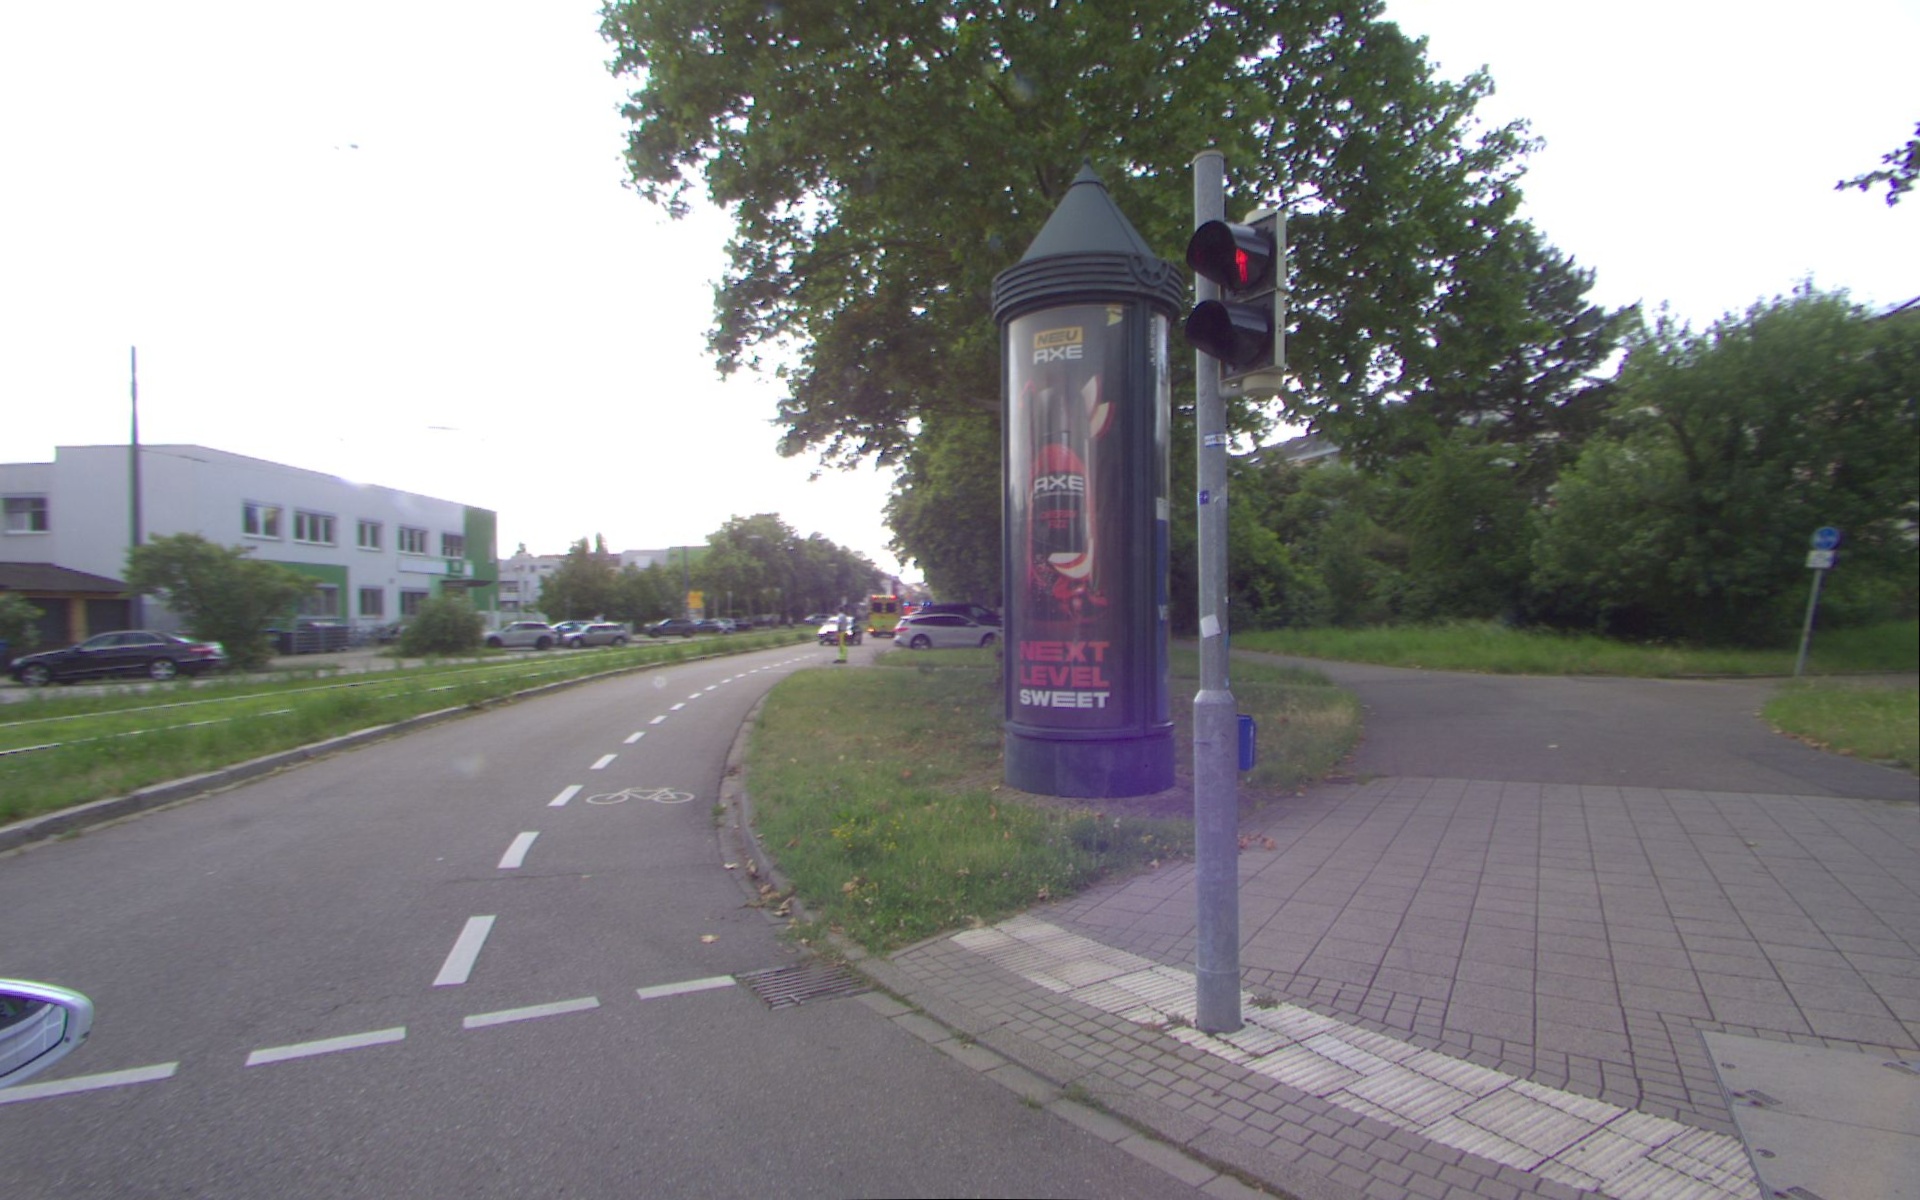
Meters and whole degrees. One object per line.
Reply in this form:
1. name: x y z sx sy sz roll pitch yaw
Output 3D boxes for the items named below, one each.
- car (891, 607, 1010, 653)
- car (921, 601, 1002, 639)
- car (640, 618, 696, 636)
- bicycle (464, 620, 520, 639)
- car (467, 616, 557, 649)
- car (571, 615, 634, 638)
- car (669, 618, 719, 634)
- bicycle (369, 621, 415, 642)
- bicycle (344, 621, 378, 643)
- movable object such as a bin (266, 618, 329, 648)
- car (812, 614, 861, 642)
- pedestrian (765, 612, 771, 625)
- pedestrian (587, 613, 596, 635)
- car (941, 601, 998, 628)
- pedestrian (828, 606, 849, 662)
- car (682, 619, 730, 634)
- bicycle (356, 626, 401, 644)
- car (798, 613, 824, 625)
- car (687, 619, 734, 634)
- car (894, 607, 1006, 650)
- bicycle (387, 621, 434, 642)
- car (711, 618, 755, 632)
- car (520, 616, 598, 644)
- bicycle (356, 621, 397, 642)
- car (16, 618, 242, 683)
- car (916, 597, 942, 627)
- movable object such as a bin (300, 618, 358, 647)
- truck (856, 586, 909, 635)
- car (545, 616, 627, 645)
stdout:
1. car: -0.385 1.167 38.490 4.455 1.665 2.001 -1 -2 -2
2. car: 0.092 1.143 56.023 4.468 2.040 2.001 -1 -1 1
3. car: -23.774 2.166 81.518 4.245 1.381 1.896 0 0 -24
4. bicycle: -30.541 1.893 65.357 3.083 1.181 1.142 -1 0 -4
5. car: -24.502 1.753 54.835 4.257 1.650 1.891 0 0 -33
6. car: -25.046 1.834 70.087 4.101 1.523 1.855 0 -1 -22
7. car: -24.373 2.406 91.808 4.243 1.381 1.896 0 0 -22
8. bicycle: -32.493 1.807 57.286 2.306 1.181 0.760 -1 0 6
9. bicycle: -32.808 1.770 54.843 1.592 1.181 0.705 -1 0 17
10. movable object such as a bin: -30.275 1.488 45.799 1.350 1.344 2.117 -1 0 4
11. car: -6.456 1.465 52.871 1.805 1.411 4.607 0 -1 3
12. pedestrian: -28.163 2.717 146.905 0.610 1.752 0.646 1 0 0
13. pedestrian: -28.841 1.843 78.369 0.586 1.697 0.541 -1 0 -9
14. car: 1.226 1.958 132.918 7.315 3.373 2.975 1 -1 -5
15. pedestrian: -3.725 1.053 30.758 0.576 1.706 0.494 0 0 1
16. car: -24.123 2.490 95.128 4.243 1.381 1.896 0 0 -22
17. bicycle: -32.726 1.980 56.377 2.117 0.983 0.731 -1 0 4
18. car: -25.292 3.172 169.512 3.945 1.861 1.812 2 -1 -31
19. car: -24.331 2.548 97.718 4.243 1.381 1.896 0 0 -22
20. car: -0.427 1.165 41.075 4.455 1.665 2.001 -1 -2 -2
21. bicycle: -32.055 1.850 58.425 2.371 1.181 0.748 -1 0 8
22. car: -24.082 2.612 106.262 4.243 1.381 1.896 0 0 -22
23. car: -24.403 1.803 60.905 4.251 1.650 1.893 1 -1 -28
24. bicycle: -31.376 1.686 53.863 1.762 1.096 0.736 -1 0 -2
25. car: -23.598 1.385 28.662 4.501 1.601 1.995 -1 0 -20
26. car: -3.638 1.508 119.386 2.917 3.373 7.461 1 -1 -1
27. movable object such as a bin: -30.194 1.543 47.988 1.350 1.344 2.131 -1 0 4
28. truck: -5.592 0.762 73.662 3.131 3.361 7.523 -1 -1 1
29. car: -22.012 1.769 59.018 4.258 1.650 1.890 1 -1 -33
